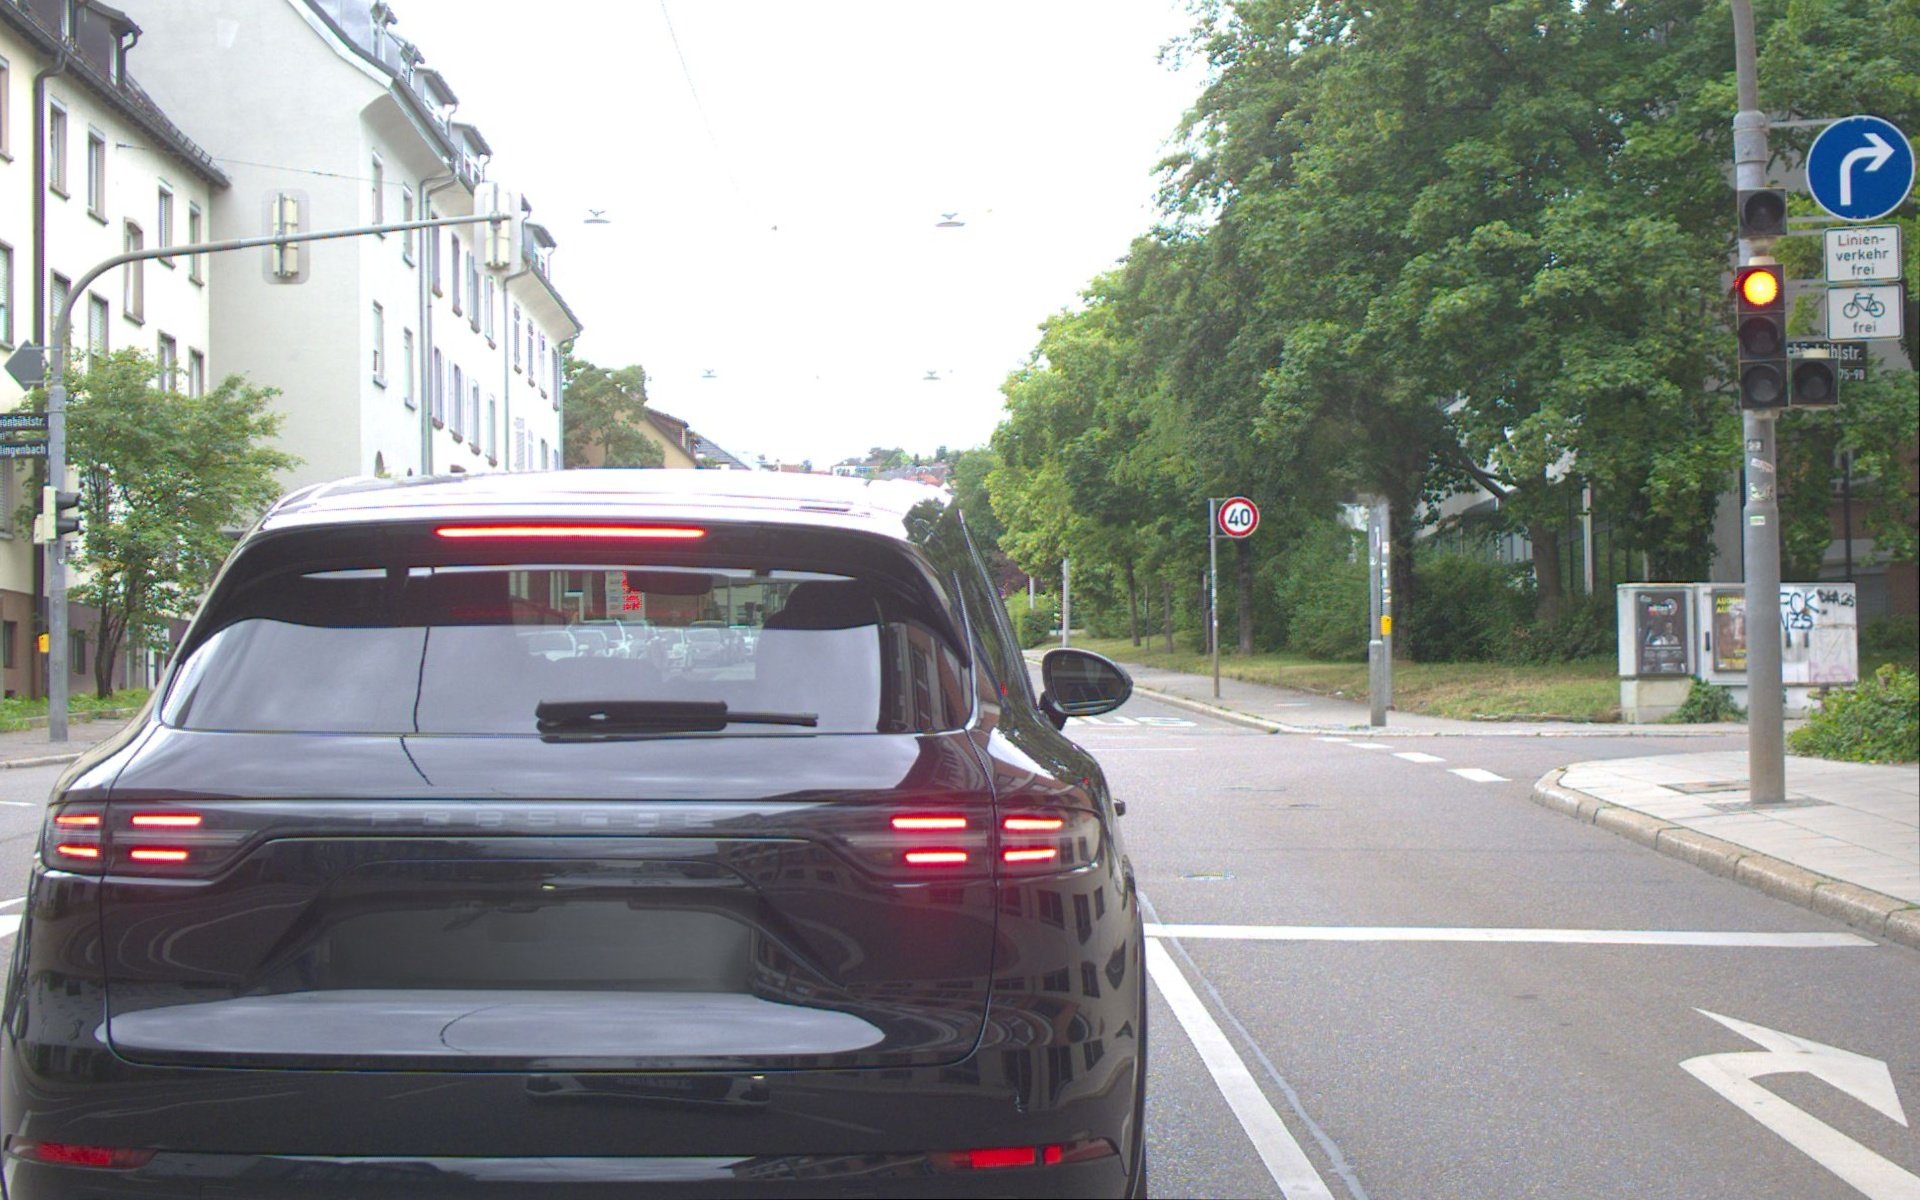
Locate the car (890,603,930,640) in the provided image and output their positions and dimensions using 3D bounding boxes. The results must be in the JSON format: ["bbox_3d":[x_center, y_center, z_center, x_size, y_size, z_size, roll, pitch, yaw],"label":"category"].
[{"bbox_3d":[-2.374,1.007,163.073,1.827,1.599,4.135,1,1,0],"label":"car"}]

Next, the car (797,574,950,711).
[{"bbox_3d":[-1.060,0.504,43.831,1.827,1.599,4.135,1,1,0],"label":"car"}]

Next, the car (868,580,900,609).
[{"bbox_3d":[-4.481,-0.337,202.954,1.827,1.599,4.135,1,1,0],"label":"car"}]

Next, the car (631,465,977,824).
[{"bbox_3d":[-0.911,0.222,21.907,1.965,2.035,4.135,1,1,0],"label":"car"}]

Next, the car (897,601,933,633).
[{"bbox_3d":[-2.384,0.898,182.494,1.827,1.599,4.135,1,1,0],"label":"car"}]

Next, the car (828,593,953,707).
[{"bbox_3d":[-1.036,0.730,52.549,1.827,1.599,3.859,1,1,0],"label":"car"}]

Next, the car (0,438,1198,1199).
[{"bbox_3d":[-0.697,0.566,7.238,2.048,1.660,4.267,1,1,0],"label":"car"}]
